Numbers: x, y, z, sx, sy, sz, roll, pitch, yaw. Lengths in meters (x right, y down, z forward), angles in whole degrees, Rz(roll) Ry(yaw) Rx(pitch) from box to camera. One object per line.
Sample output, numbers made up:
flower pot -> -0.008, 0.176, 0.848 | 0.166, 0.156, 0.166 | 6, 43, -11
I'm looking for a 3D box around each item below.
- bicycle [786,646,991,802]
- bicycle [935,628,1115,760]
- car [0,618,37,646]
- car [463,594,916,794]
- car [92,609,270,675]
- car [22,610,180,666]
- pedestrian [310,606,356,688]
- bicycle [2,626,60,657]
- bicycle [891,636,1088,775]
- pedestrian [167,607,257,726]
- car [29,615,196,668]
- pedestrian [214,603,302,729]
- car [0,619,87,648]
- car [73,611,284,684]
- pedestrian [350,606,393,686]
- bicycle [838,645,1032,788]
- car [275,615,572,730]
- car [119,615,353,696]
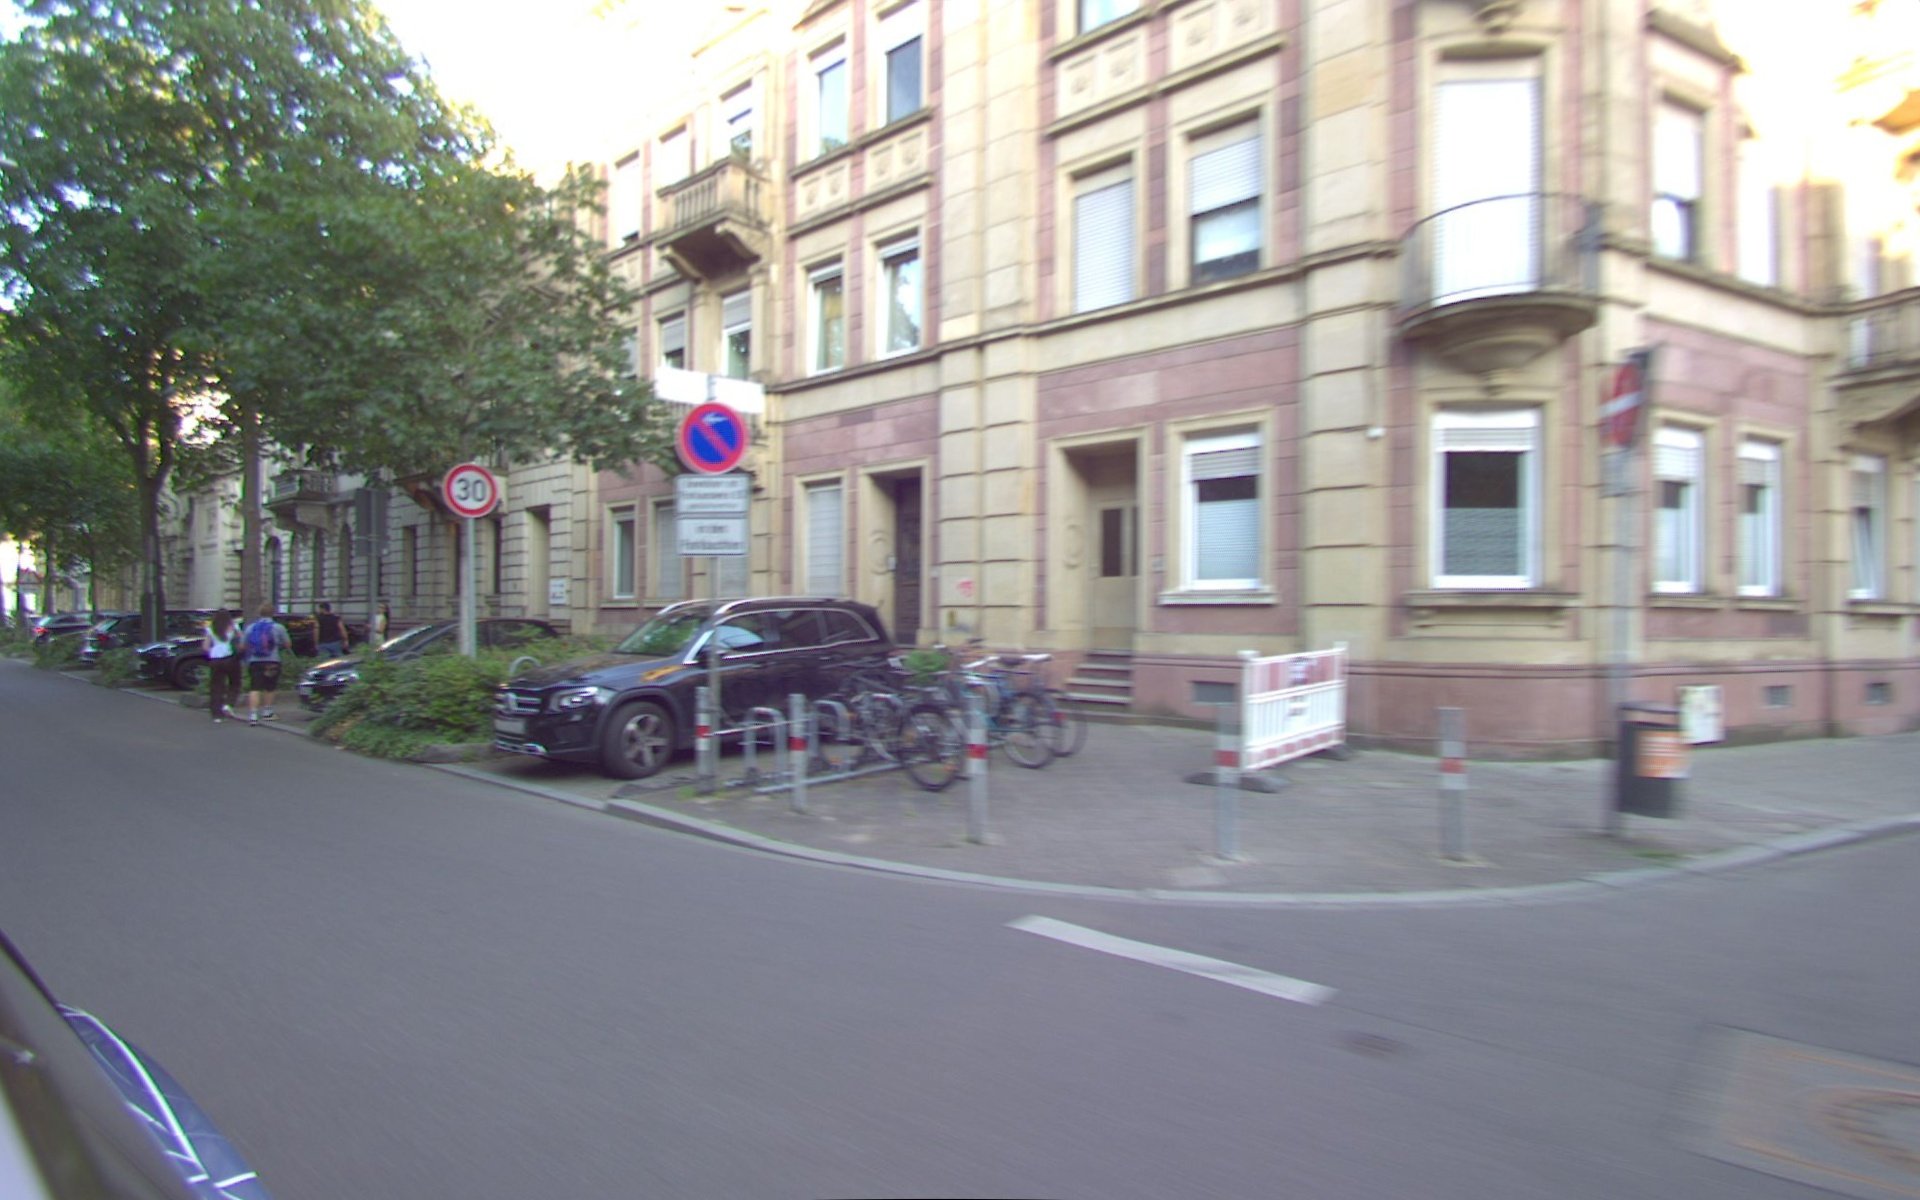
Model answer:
bicycle -> -0.639, 0.982, 8.474 | 1.860, 1.067, 0.517 | 1, 3, 39
bicycle -> 0.612, 0.879, 10.053 | 1.861, 1.116, 0.511 | 1, 3, 42
car -> -54.695, 1.812, 56.839 | 1.827, 1.569, 4.124 | -1, -1, 44
car -> -2.680, 0.813, 10.865 | 1.872, 1.663, 4.378 | -2, -1, 42
car -> -22.191, 1.161, 28.934 | 1.713, 1.684, 3.762 | -2, -1, 40
car -> -29.918, 1.280, 35.334 | 1.780, 1.608, 3.924 | -1, 2, 41
pedestrian -> -13.629, 1.005, 22.002 | 0.725, 1.752, 0.672 | 0, -1, -42
bicycle -> -38.784, 1.716, 42.257 | 1.750, 1.241, 0.500 | 1, 0, -44
bicycle -> 0.242, 0.927, 9.490 | 1.861, 1.070, 0.661 | 1, 3, 42
pedestrian -> -10.956, 0.956, 14.860 | 0.783, 1.683, 0.834 | 1, -2, -17
car -> -27.423, 1.315, 32.846 | 1.764, 1.397, 3.923 | -2, 1, 42
pedestrian -> -10.130, 0.934, 14.633 | 0.783, 1.750, 0.834 | 1, -2, -17
car -> -46.596, 1.666, 50.439 | 1.916, 1.401, 4.464 | -1, -1, 42
car -> -20.620, 1.193, 26.821 | 1.907, 1.684, 4.157 | -2, -1, 41
pedestrian -> -13.270, 1.021, 22.822 | 0.725, 1.752, 0.672 | 0, -1, -42
bicycle -> -0.263, 0.976, 8.952 | 1.861, 1.026, 0.517 | 1, 3, 42
car -> -8.245, 1.025, 15.756 | 1.871, 1.469, 3.654 | -2, -1, 41
car -> -15.774, 1.132, 22.167 | 1.908, 1.544, 3.901 | -1, 0, 43
